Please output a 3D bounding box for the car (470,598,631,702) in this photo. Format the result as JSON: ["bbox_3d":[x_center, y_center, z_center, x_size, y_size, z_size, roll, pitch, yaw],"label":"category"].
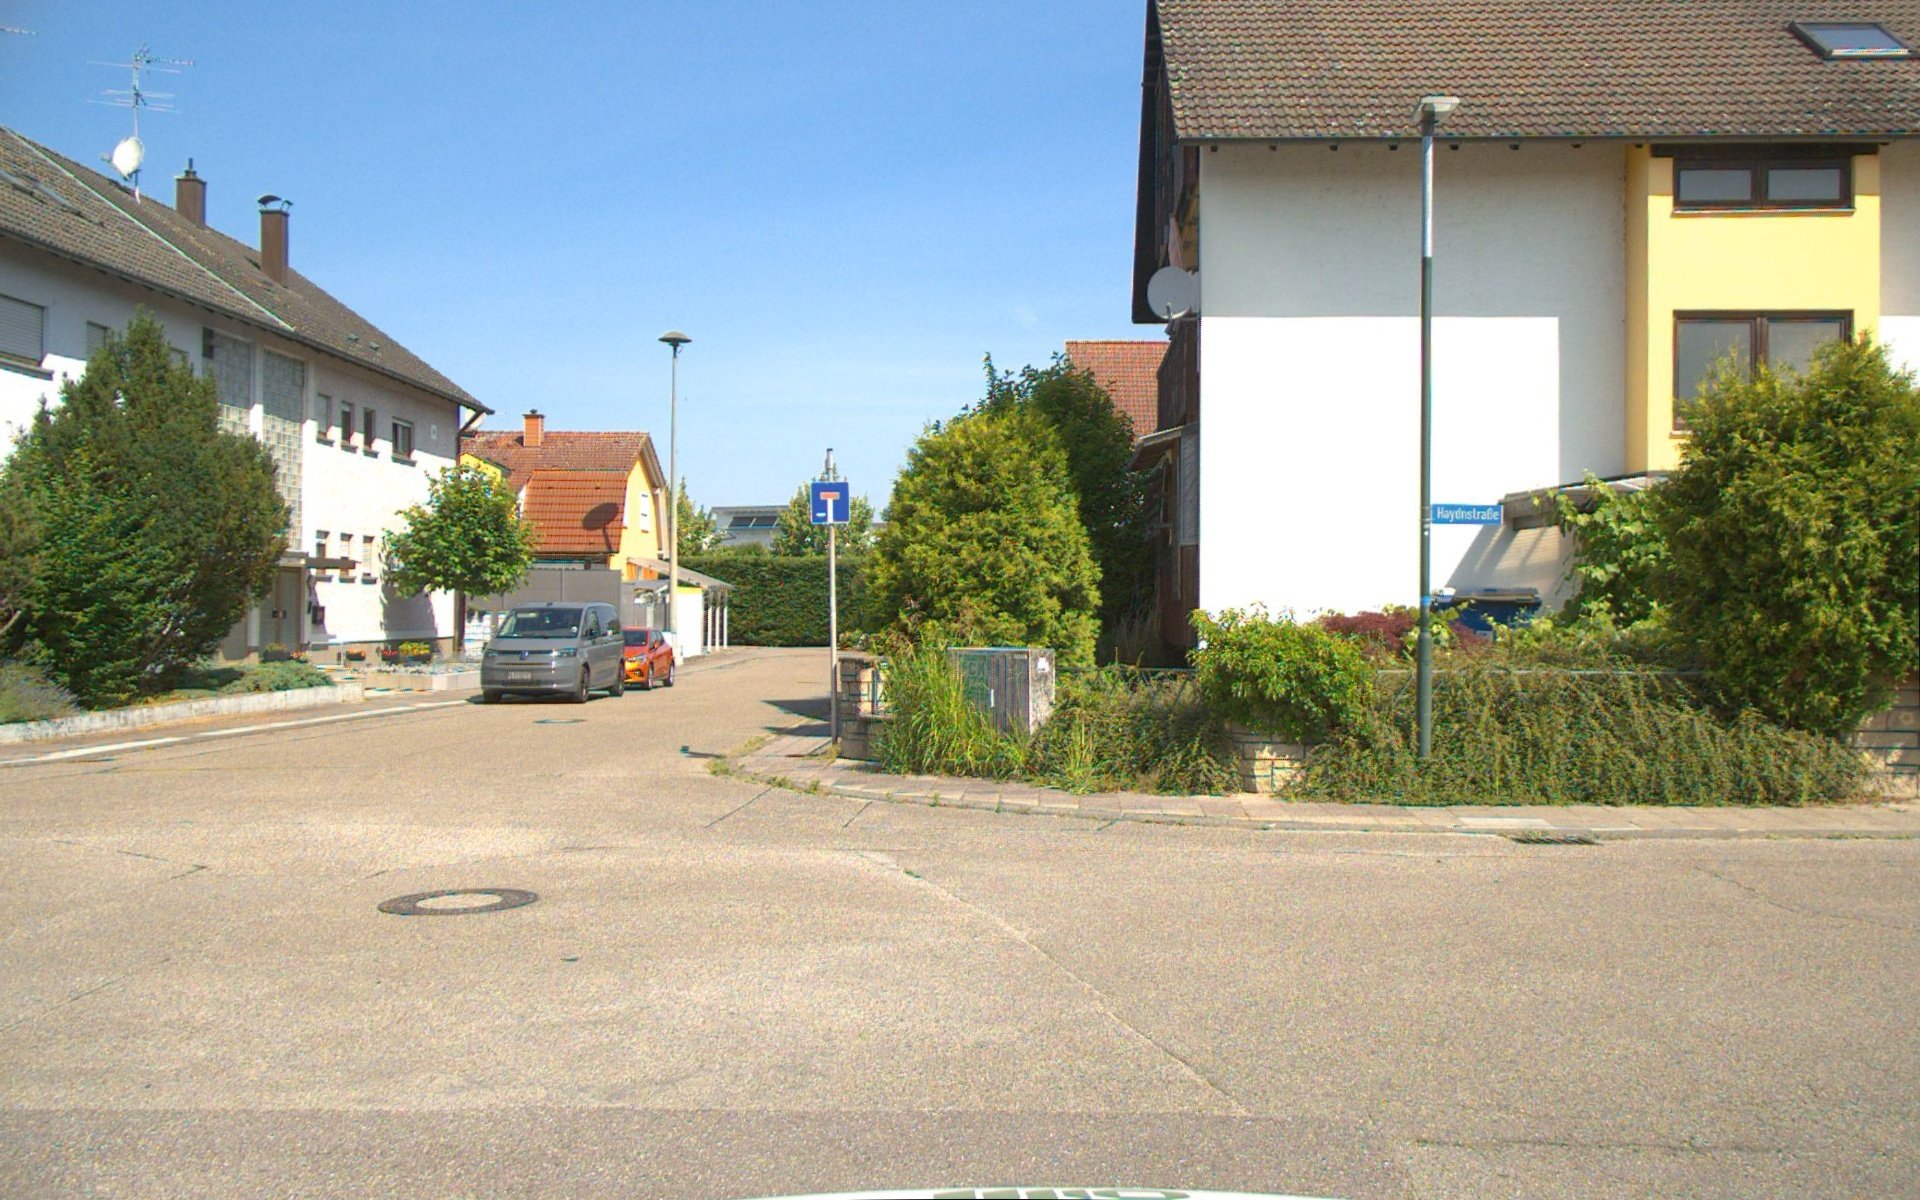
[{"bbox_3d":[-7.942,0.926,32.498,1.861,1.902,4.373,0,0,3],"label":"car"}]

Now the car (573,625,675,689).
[{"bbox_3d":[-7.867,1.306,39.016,1.618,1.389,3.778,1,-1,0],"label":"car"}]
